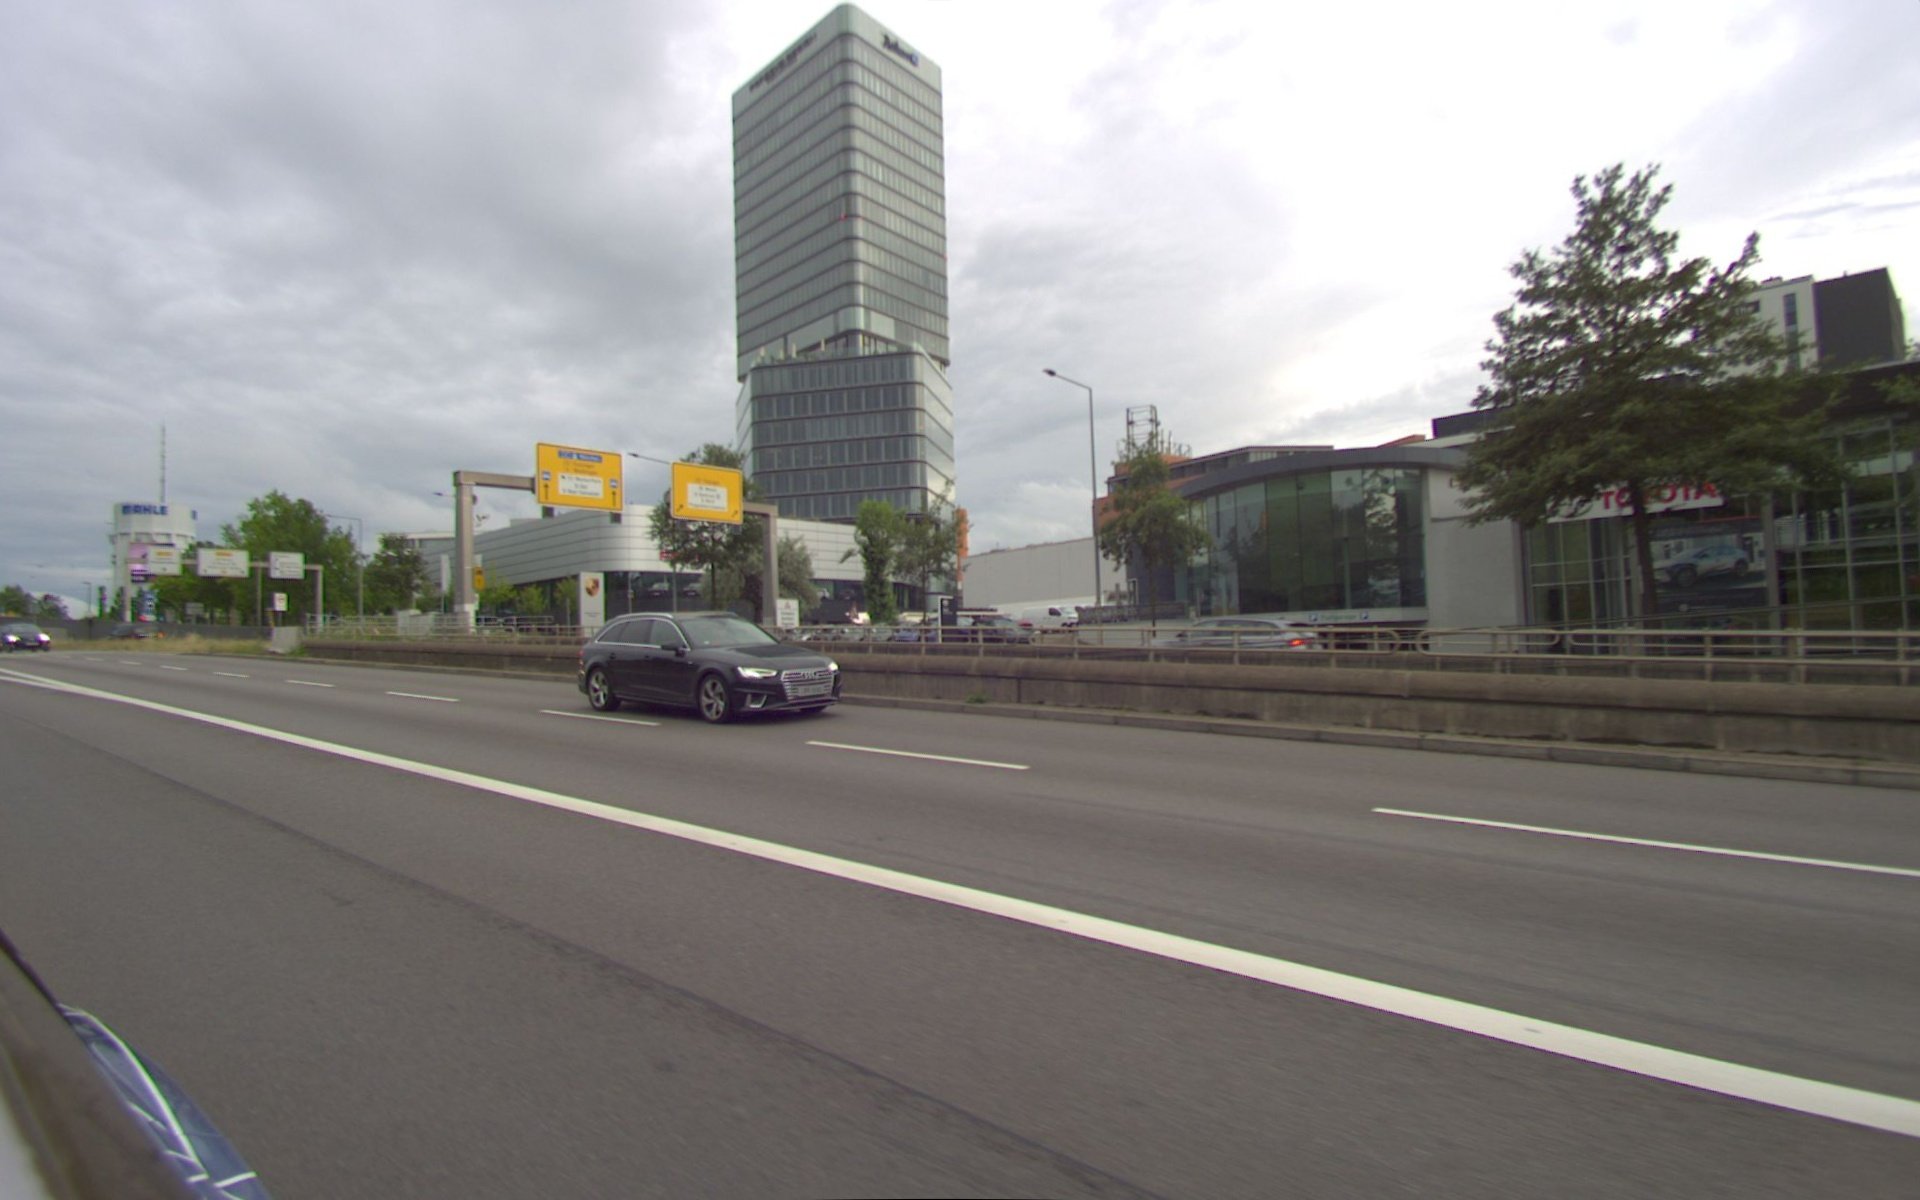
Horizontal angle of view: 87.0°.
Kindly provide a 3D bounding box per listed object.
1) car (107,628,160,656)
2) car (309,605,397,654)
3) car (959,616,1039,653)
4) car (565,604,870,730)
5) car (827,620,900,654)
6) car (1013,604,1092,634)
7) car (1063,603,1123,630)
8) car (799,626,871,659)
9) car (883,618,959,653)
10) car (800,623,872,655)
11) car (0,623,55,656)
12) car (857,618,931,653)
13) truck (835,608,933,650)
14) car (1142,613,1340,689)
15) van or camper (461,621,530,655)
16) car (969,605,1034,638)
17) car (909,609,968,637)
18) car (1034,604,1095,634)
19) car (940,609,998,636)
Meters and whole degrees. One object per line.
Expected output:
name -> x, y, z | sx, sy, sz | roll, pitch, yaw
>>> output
car -> -58.825, 2.974, 72.019 | 4.622, 1.843, 1.794 | -1, 0, 36
car -> -22.701, 1.131, 37.818 | 3.545, 1.602, 1.671 | -5, -2, 39
car -> 1.937, 1.786, 51.786 | 1.891, 1.696, 4.515 | -3, -2, -31
car -> -3.500, 0.822, 14.070 | 4.630, 1.430, 1.791 | -1, 0, 42
car -> -5.615, 2.158, 59.149 | 1.922, 1.696, 3.945 | -5, -2, 41
car -> 6.372, 1.320, 70.221 | 1.970, 1.896, 5.541 | -2, -1, -43
car -> 9.680, 1.223, 73.934 | 1.895, 1.696, 4.003 | -2, -2, -44
car -> -7.462, 2.549, 60.754 | 1.922, 1.696, 3.945 | -5, -2, 41
car -> -2.110, 1.956, 55.923 | 1.922, 1.696, 3.945 | -5, -2, 41
car -> -7.438, 2.325, 60.735 | 1.922, 1.696, 3.945 | -5, -2, 41
car -> -49.161, 2.048, 53.046 | 3.994, 1.644, 1.850 | -1, -1, 38
car -> -3.748, 2.001, 57.615 | 1.922, 1.696, 3.945 | -5, -2, 41
truck -> -5.440, 2.051, 71.230 | 7.411, 2.547, 2.340 | -5, -2, 43
car -> 6.479, 1.121, 23.524 | 3.997, 1.597, 1.973 | -1, -2, 40
van or camper -> -26.264, 2.169, 57.186 | 3.942, 1.670, 1.847 | -5, -2, 37
car -> 2.668, 1.424, 66.148 | 1.879, 1.896, 4.003 | -2, -2, -43
car -> -1.568, 1.646, 71.955 | 1.895, 1.696, 4.003 | -2, -2, -44
car -> 7.459, 1.389, 72.513 | 1.970, 1.896, 4.003 | -2, -2, -43
car -> 0.631, 1.680, 73.770 | 1.895, 1.696, 4.003 | -2, -2, -44
